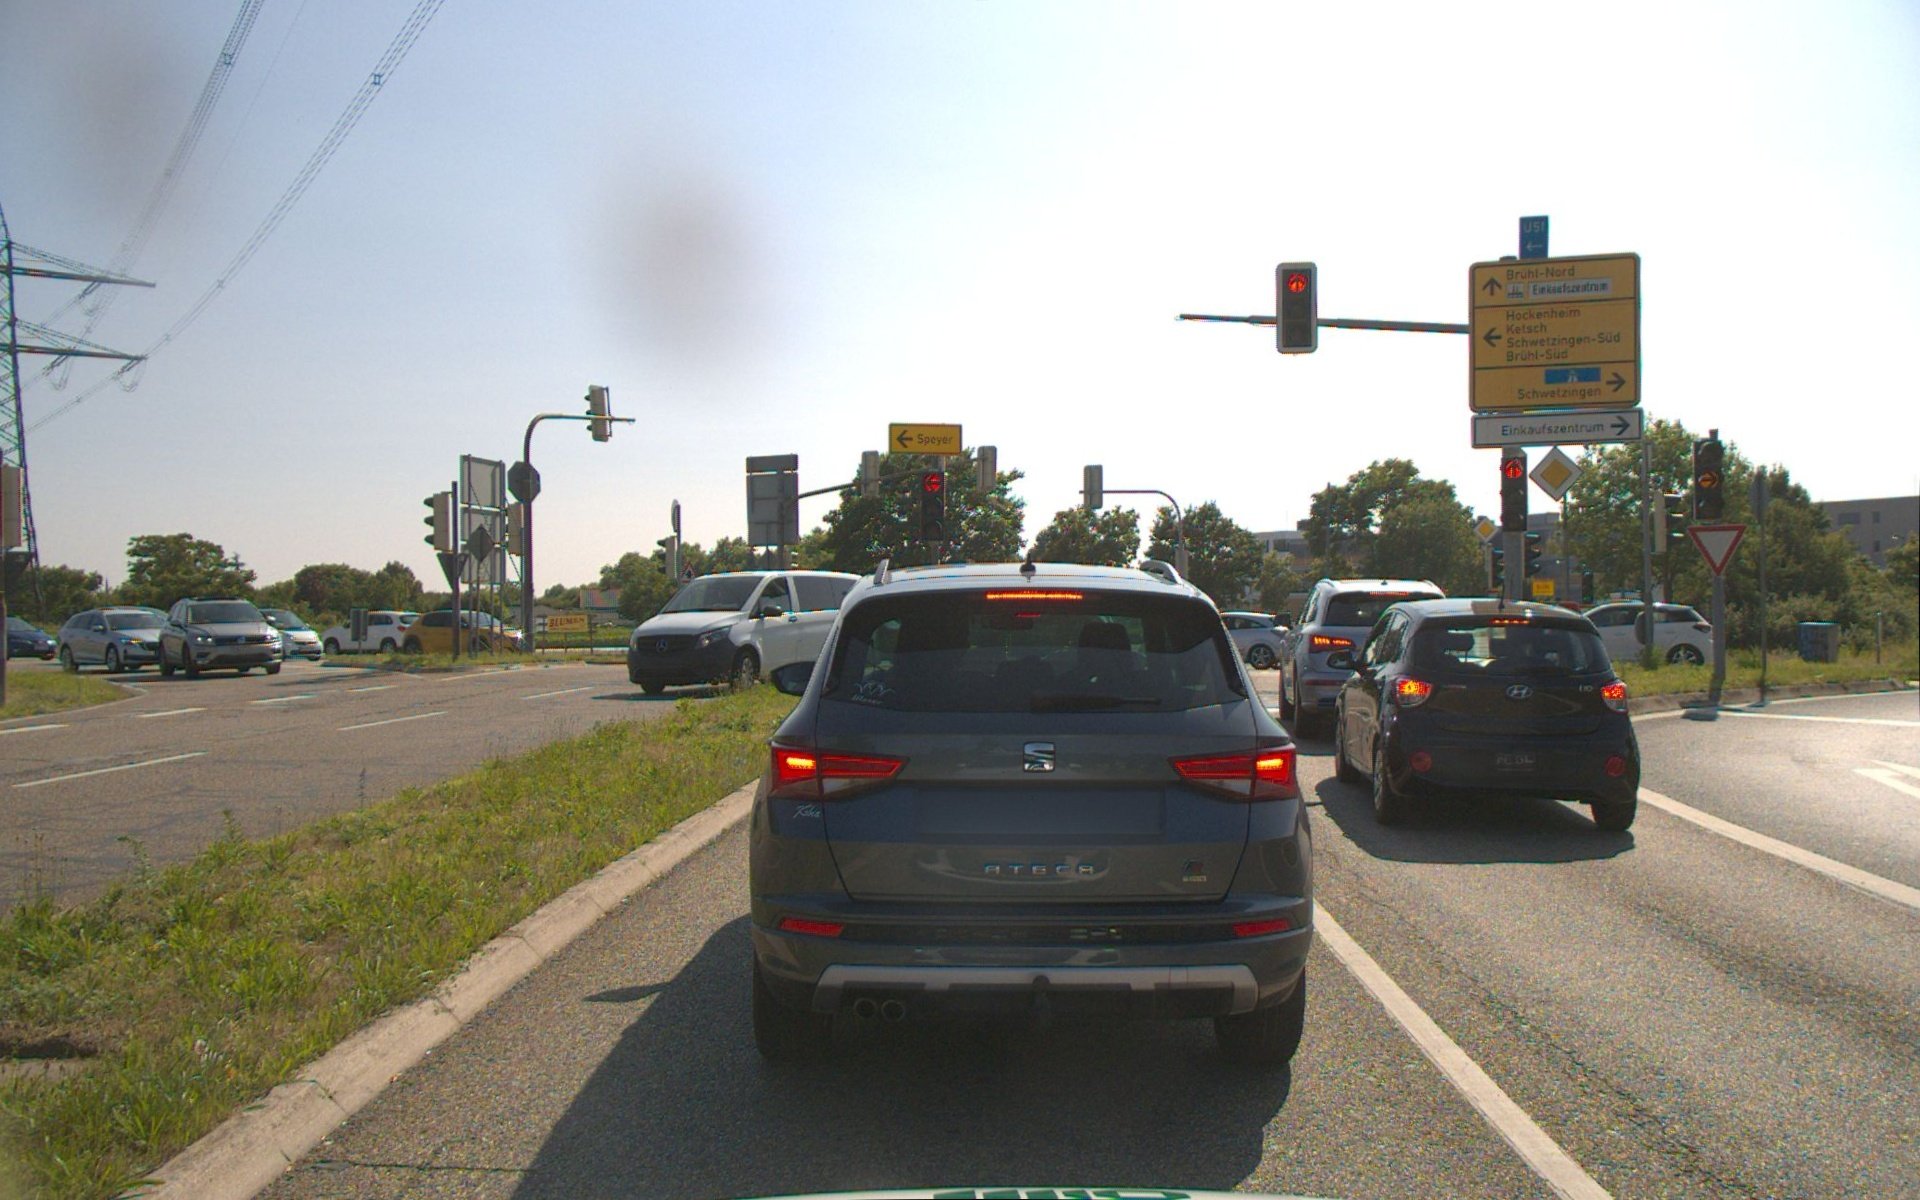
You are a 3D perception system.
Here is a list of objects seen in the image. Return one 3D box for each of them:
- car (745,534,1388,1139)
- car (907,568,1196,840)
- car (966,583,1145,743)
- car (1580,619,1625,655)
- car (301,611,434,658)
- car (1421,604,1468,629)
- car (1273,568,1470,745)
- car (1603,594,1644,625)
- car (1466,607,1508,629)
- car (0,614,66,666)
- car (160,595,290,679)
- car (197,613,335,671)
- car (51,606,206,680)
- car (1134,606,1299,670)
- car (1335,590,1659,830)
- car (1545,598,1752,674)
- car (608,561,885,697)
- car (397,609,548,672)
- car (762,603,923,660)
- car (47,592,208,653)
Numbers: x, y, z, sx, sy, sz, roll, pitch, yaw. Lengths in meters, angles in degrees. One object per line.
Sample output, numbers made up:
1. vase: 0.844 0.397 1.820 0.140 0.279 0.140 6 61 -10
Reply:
1. car: 0.278 0.648 6.273 1.706 1.596 3.623 1 0 -1
2. car: 0.567 0.635 11.764 1.706 1.596 3.624 1 0 0
3. car: 1.078 0.621 17.886 1.705 1.510 3.626 1 0 5
4. car: 32.146 1.841 82.650 1.839 1.702 3.767 1 0 25
5. car: -20.101 1.149 56.102 4.236 1.545 1.806 -1 0 26
6. car: 32.622 1.122 111.362 1.686 1.576 3.590 1 0 41
7. car: 4.394 0.555 18.119 1.598 1.706 3.752 1 0 6
8. car: 40.639 0.578 101.240 1.685 1.851 3.767 1 0 32
9. car: 39.853 1.336 125.038 1.687 1.576 3.587 1 0 43
10. car: -32.352 1.330 55.990 3.910 1.680 1.818 -1 0 28
11. car: -15.687 0.760 35.214 1.800 1.680 3.950 0 0 -35
12. car: -21.132 1.250 50.352 3.910 1.680 1.818 -1 0 28
13. car: -20.169 1.013 40.062 3.920 1.680 1.813 -1 0 37
14. car: 6.500 0.950 41.918 3.791 1.545 1.806 -1 0 26
15. car: 3.736 0.682 12.030 1.598 1.473 3.297 1 0 6
16. car: 14.078 0.704 33.916 3.820 1.490 1.723 0 0 23
17. car: -3.274 0.402 26.464 1.955 1.951 4.942 1 1 27
18. car: -13.579 1.104 46.052 3.910 1.680 1.818 -1 0 28
19. car: -3.336 0.878 46.952 4.236 1.545 1.806 -1 0 26
20. car: -24.196 0.652 48.042 4.654 1.680 1.818 -1 -1 28
